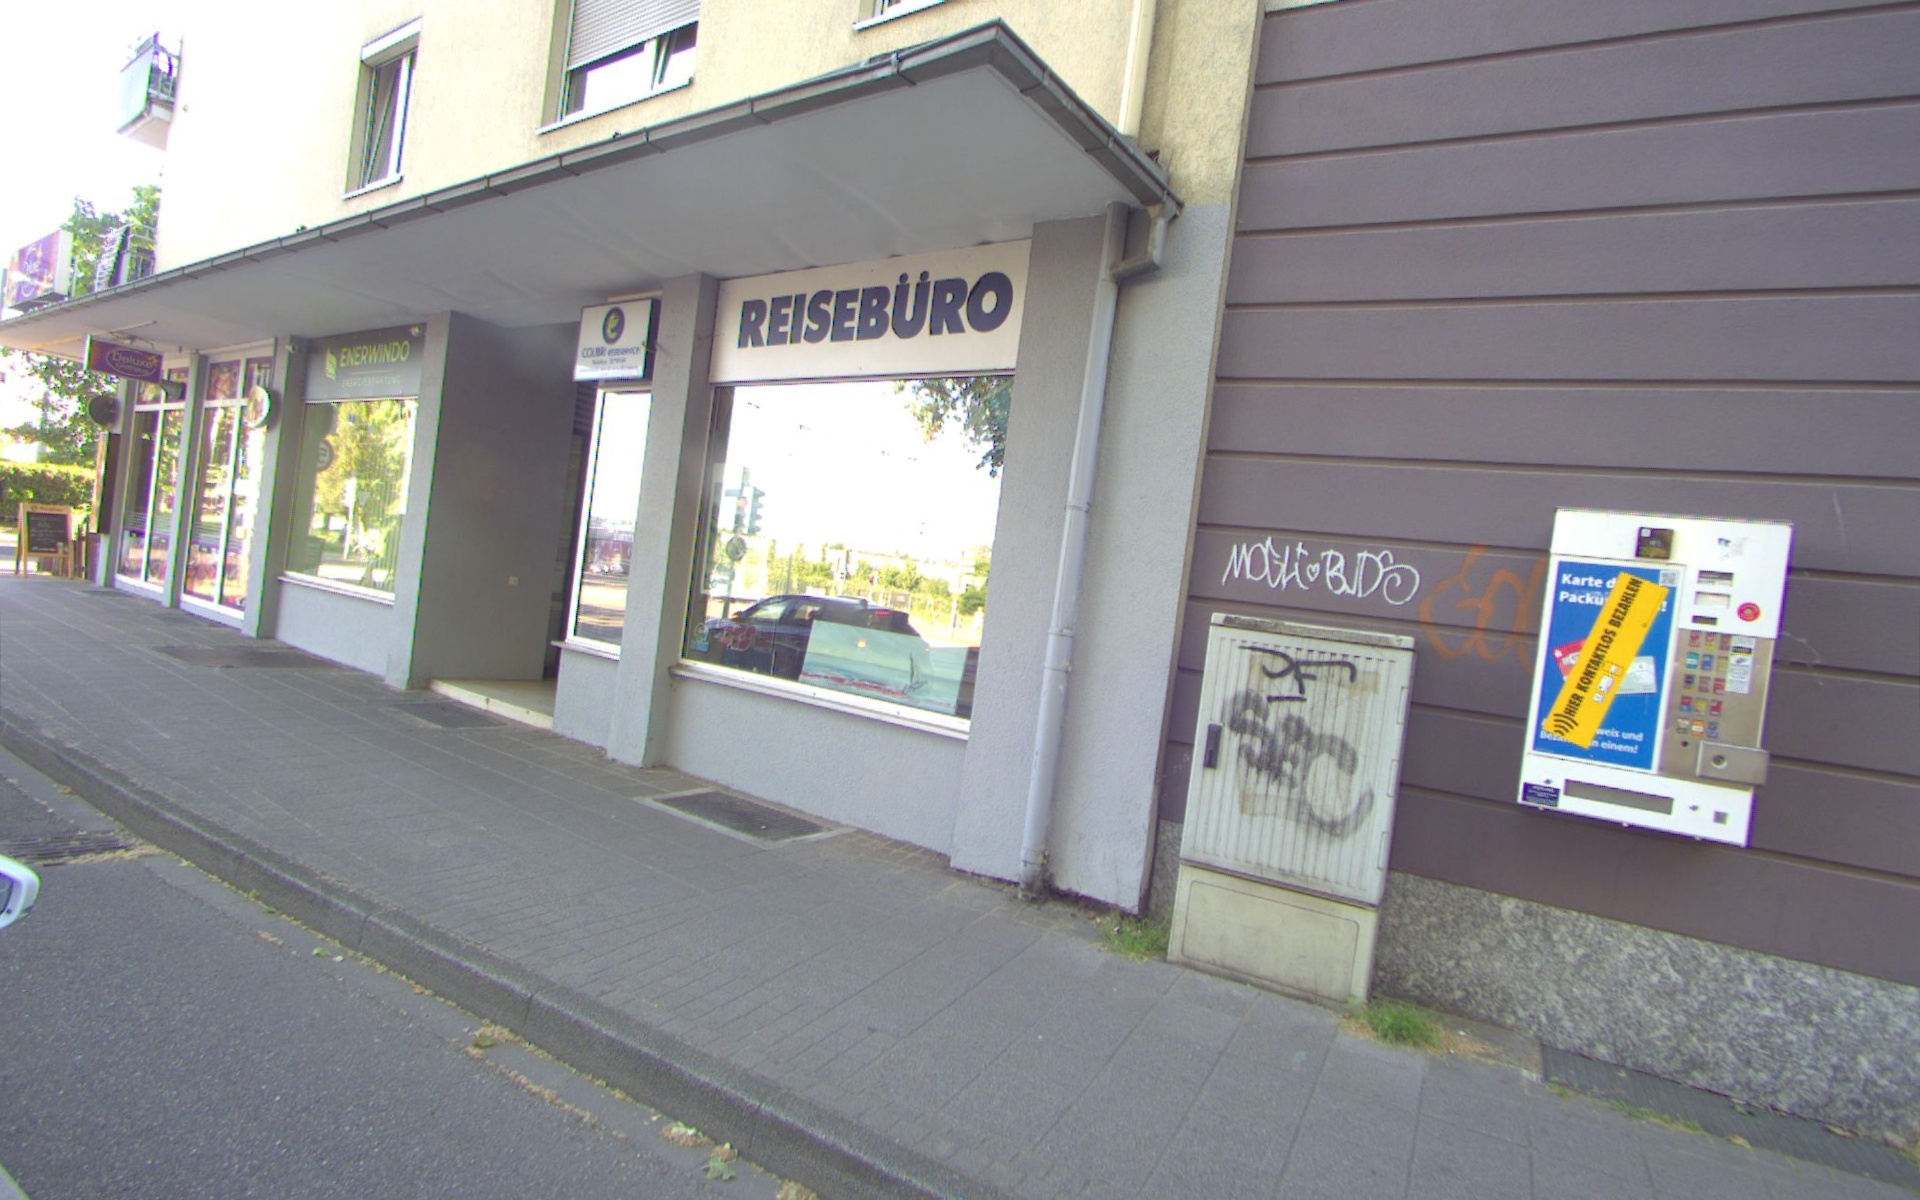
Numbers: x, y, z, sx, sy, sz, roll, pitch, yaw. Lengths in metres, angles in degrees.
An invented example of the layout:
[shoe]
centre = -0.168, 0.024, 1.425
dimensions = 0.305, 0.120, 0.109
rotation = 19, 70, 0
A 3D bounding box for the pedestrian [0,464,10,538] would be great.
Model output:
[pedestrian]
centre = -18.986, -1.748, 19.457
dimensions = 0.630, 1.841, 0.738
rotation = 8, -1, -38
